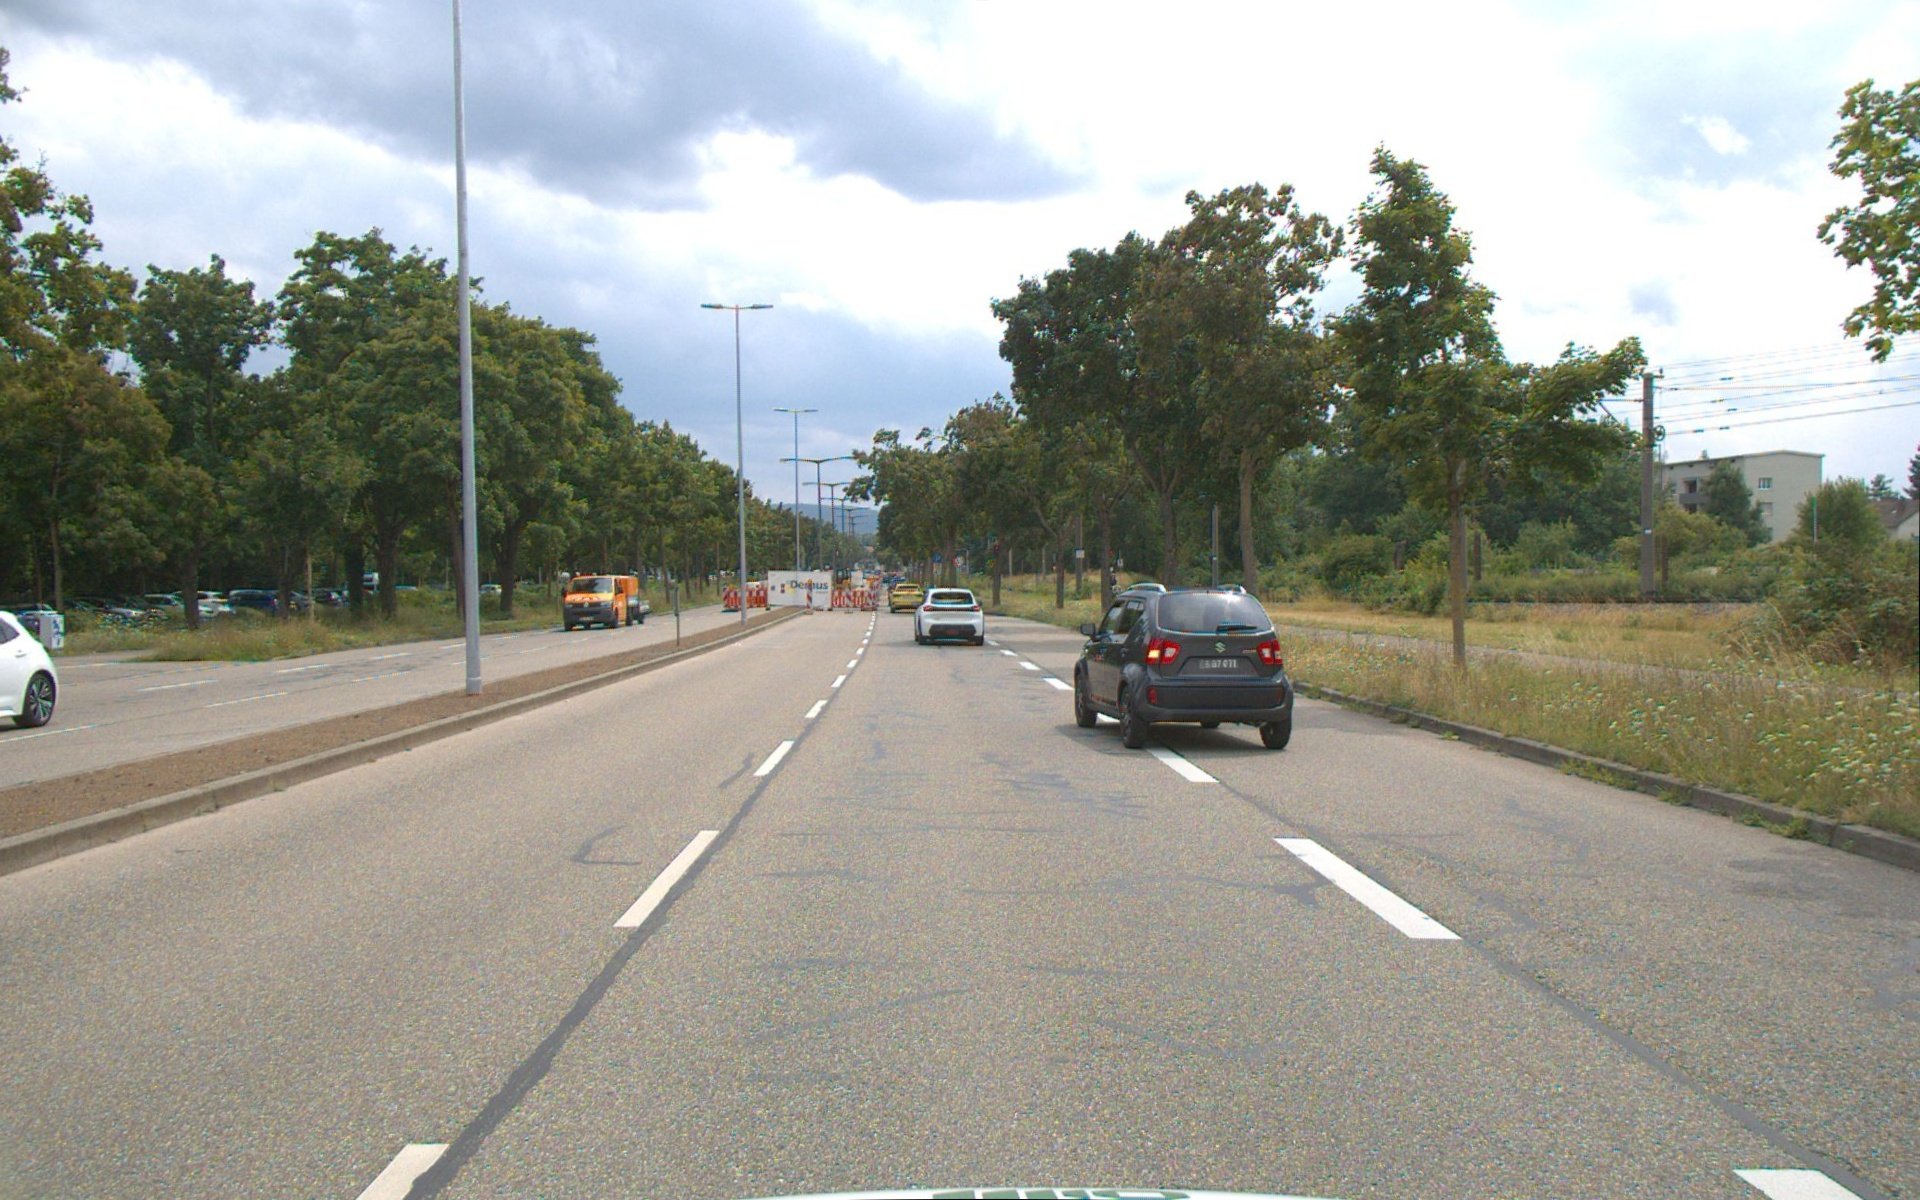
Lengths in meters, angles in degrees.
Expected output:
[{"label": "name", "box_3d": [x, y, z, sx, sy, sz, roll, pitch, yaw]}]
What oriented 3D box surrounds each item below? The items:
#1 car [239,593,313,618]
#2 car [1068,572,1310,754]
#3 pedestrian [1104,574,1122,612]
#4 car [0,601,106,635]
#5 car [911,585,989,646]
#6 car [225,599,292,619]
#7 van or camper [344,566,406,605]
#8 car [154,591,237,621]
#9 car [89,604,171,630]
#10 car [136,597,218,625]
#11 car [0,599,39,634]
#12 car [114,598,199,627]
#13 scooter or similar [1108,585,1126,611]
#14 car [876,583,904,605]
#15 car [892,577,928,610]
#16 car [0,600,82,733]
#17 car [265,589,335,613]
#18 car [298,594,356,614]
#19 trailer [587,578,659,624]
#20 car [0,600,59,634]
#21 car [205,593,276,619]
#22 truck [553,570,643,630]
[{"label": "car", "box_3d": [-41.448, 0.323, 100.301, 3.655, 1.433, 2.000, -1, 1, -2]}, {"label": "car", "box_3d": [2.286, 0.570, 17.534, 1.670, 1.697, 3.996, 0, 1, -5]}, {"label": "pedestrian", "box_3d": [7.166, -0.335, 77.539, 0.677, 1.725, 0.933, -1, 1, -7]}, {"label": "car", "box_3d": [-40.738, 0.784, 74.096, 3.903, 1.435, 2.001, -1, 1, 3]}, {"label": "car", "box_3d": [-0.315, 0.361, 43.695, 1.732, 1.489, 3.996, -1, 1, -5]}, {"label": "car", "box_3d": [-41.085, 0.511, 96.869, 3.298, 1.113, 1.441, -1, 1, -1]}, {"label": "van or camper", "box_3d": [-43.156, -1.058, 122.074, 3.907, 2.804, 1.926, -1, 1, -2]}, {"label": "car", "box_3d": [-41.272, 0.330, 89.374, 3.574, 1.546, 1.883, -1, 1, 0]}, {"label": "car", "box_3d": [-40.834, 0.824, 81.374, 3.226, 1.227, 1.517, -1, 1, 0]}, {"label": "car", "box_3d": [-41.079, 0.577, 86.833, 3.574, 1.436, 1.517, -1, 1, 0]}, {"label": "car", "box_3d": [-40.851, 0.689, 68.972, 3.905, 1.384, 1.667, -1, 1, 0]}, {"label": "car", "box_3d": [-40.977, 0.622, 84.355, 3.574, 1.436, 1.517, -1, 1, 0]}, {"label": "scooter or similar", "box_3d": [7.276, -0.097, 76.614, 0.669, 1.149, 0.933, -1, 1, -7]}, {"label": "car", "box_3d": [-4.319, -0.372, 102.464, 1.633, 1.292, 4.000, -1, 1, -1]}, {"label": "car", "box_3d": [-2.486, -0.325, 83.257, 1.757, 1.589, 4.000, -1, 1, -1]}, {"label": "car", "box_3d": [-11.544, 0.795, 18.044, 1.682, 1.444, 4.159, -2, 1, -1]}, {"label": "car", "box_3d": [-42.163, 0.048, 105.696, 3.695, 1.450, 1.966, -1, 1, 0]}, {"label": "car", "box_3d": [-41.679, 0.262, 108.929, 3.298, 1.253, 1.441, -1, 1, -1]}, {"label": "trailer", "box_3d": [-13.435, 0.017, 66.153, 2.020, 1.719, 3.894, -2, 0, 0]}, {"label": "car", "box_3d": [-41.170, 0.744, 71.054, 3.905, 1.384, 1.822, -1, 1, 0]}, {"label": "car", "box_3d": [-41.204, 0.341, 94.718, 3.477, 1.436, 1.322, -1, 1, 0]}, {"label": "truck", "box_3d": [-13.358, -0.050, 61.355, 2.046, 2.029, 6.038, -2, 1, -1]}]
